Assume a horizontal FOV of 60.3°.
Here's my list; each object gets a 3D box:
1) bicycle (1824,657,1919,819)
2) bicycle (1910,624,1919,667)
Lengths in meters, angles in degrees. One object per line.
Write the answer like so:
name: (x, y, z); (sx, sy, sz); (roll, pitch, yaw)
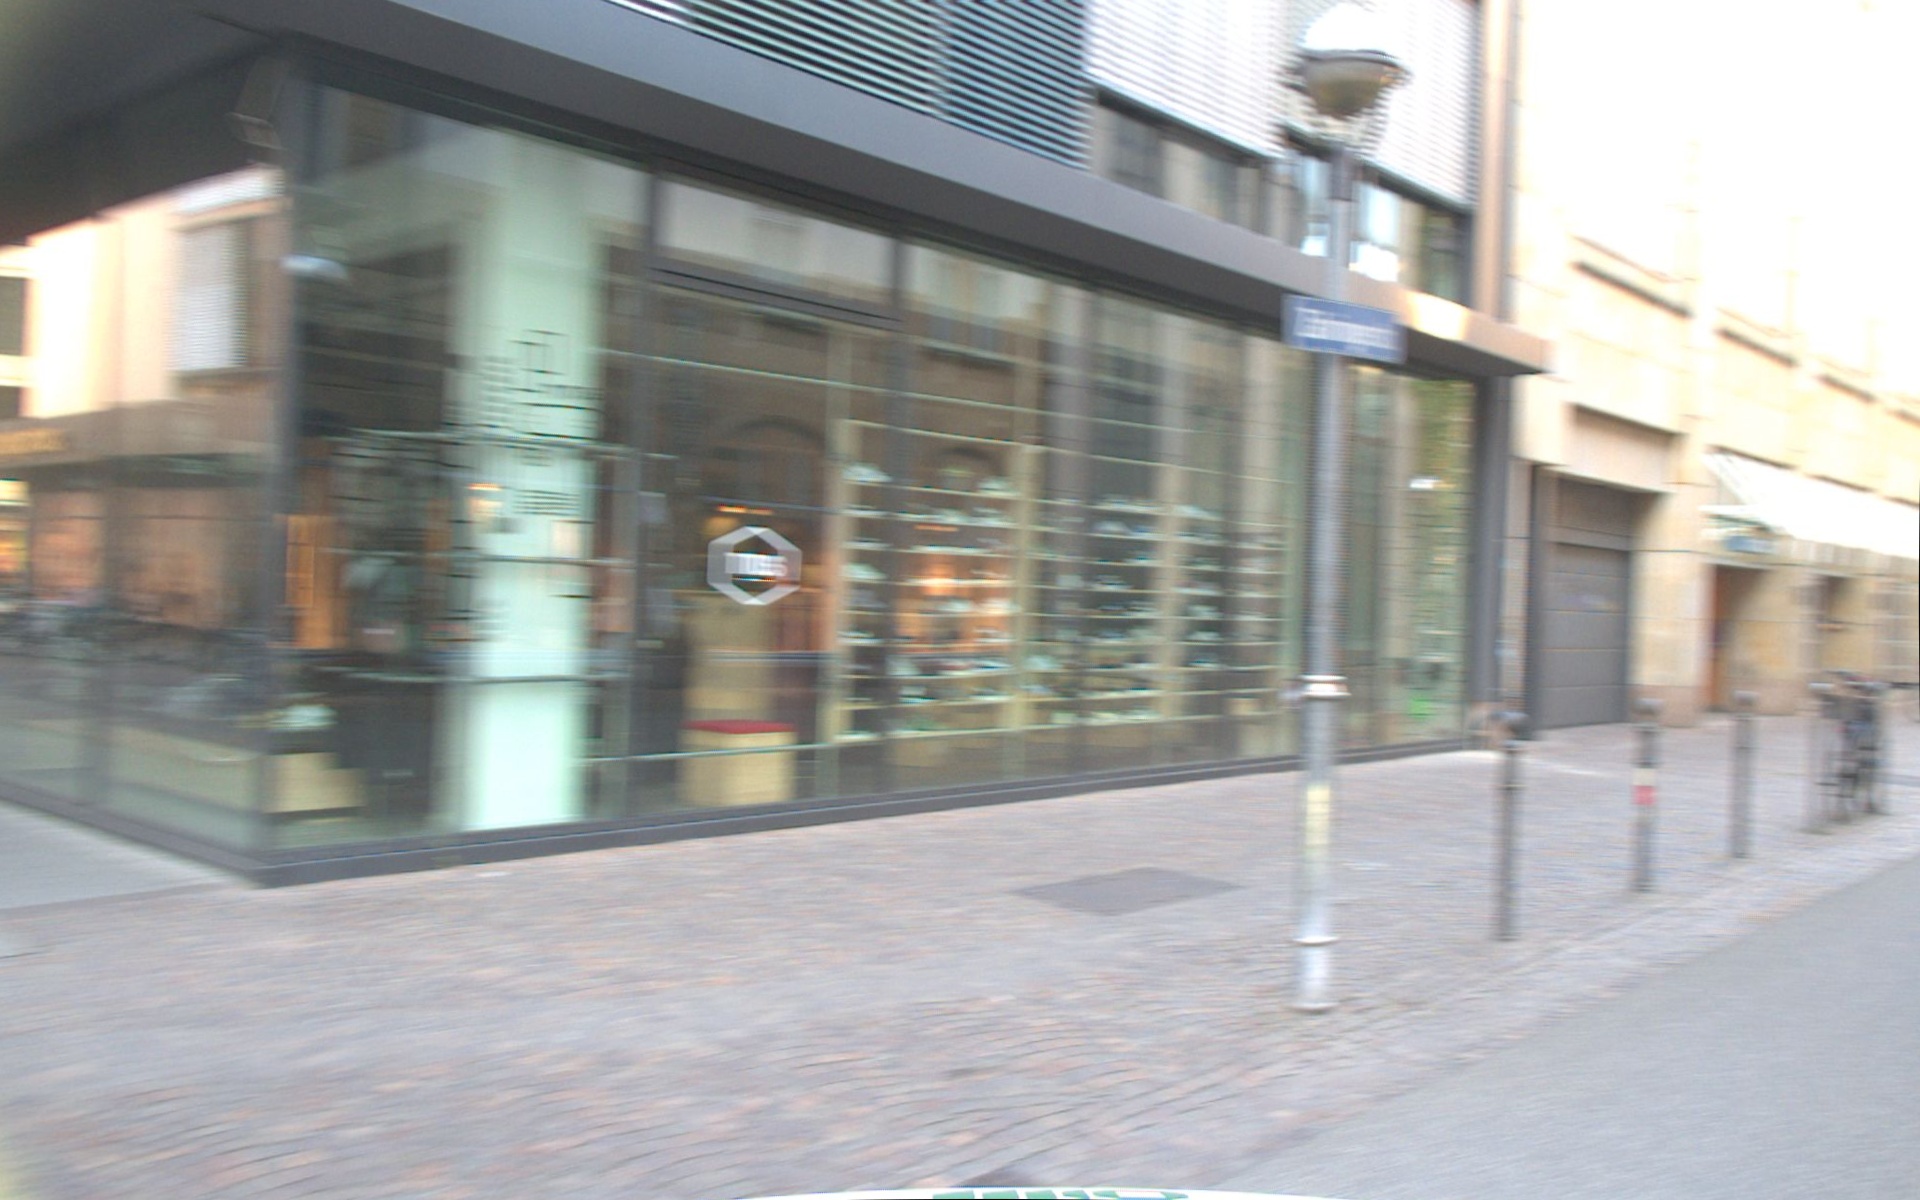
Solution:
bicycle: (7.337, 1.059, 13.204); (0.404, 1.152, 1.922); (2, 0, 38)
bicycle: (27.751, 1.292, 46.348); (1.875, 1.203, 0.695); (2, 0, 25)
